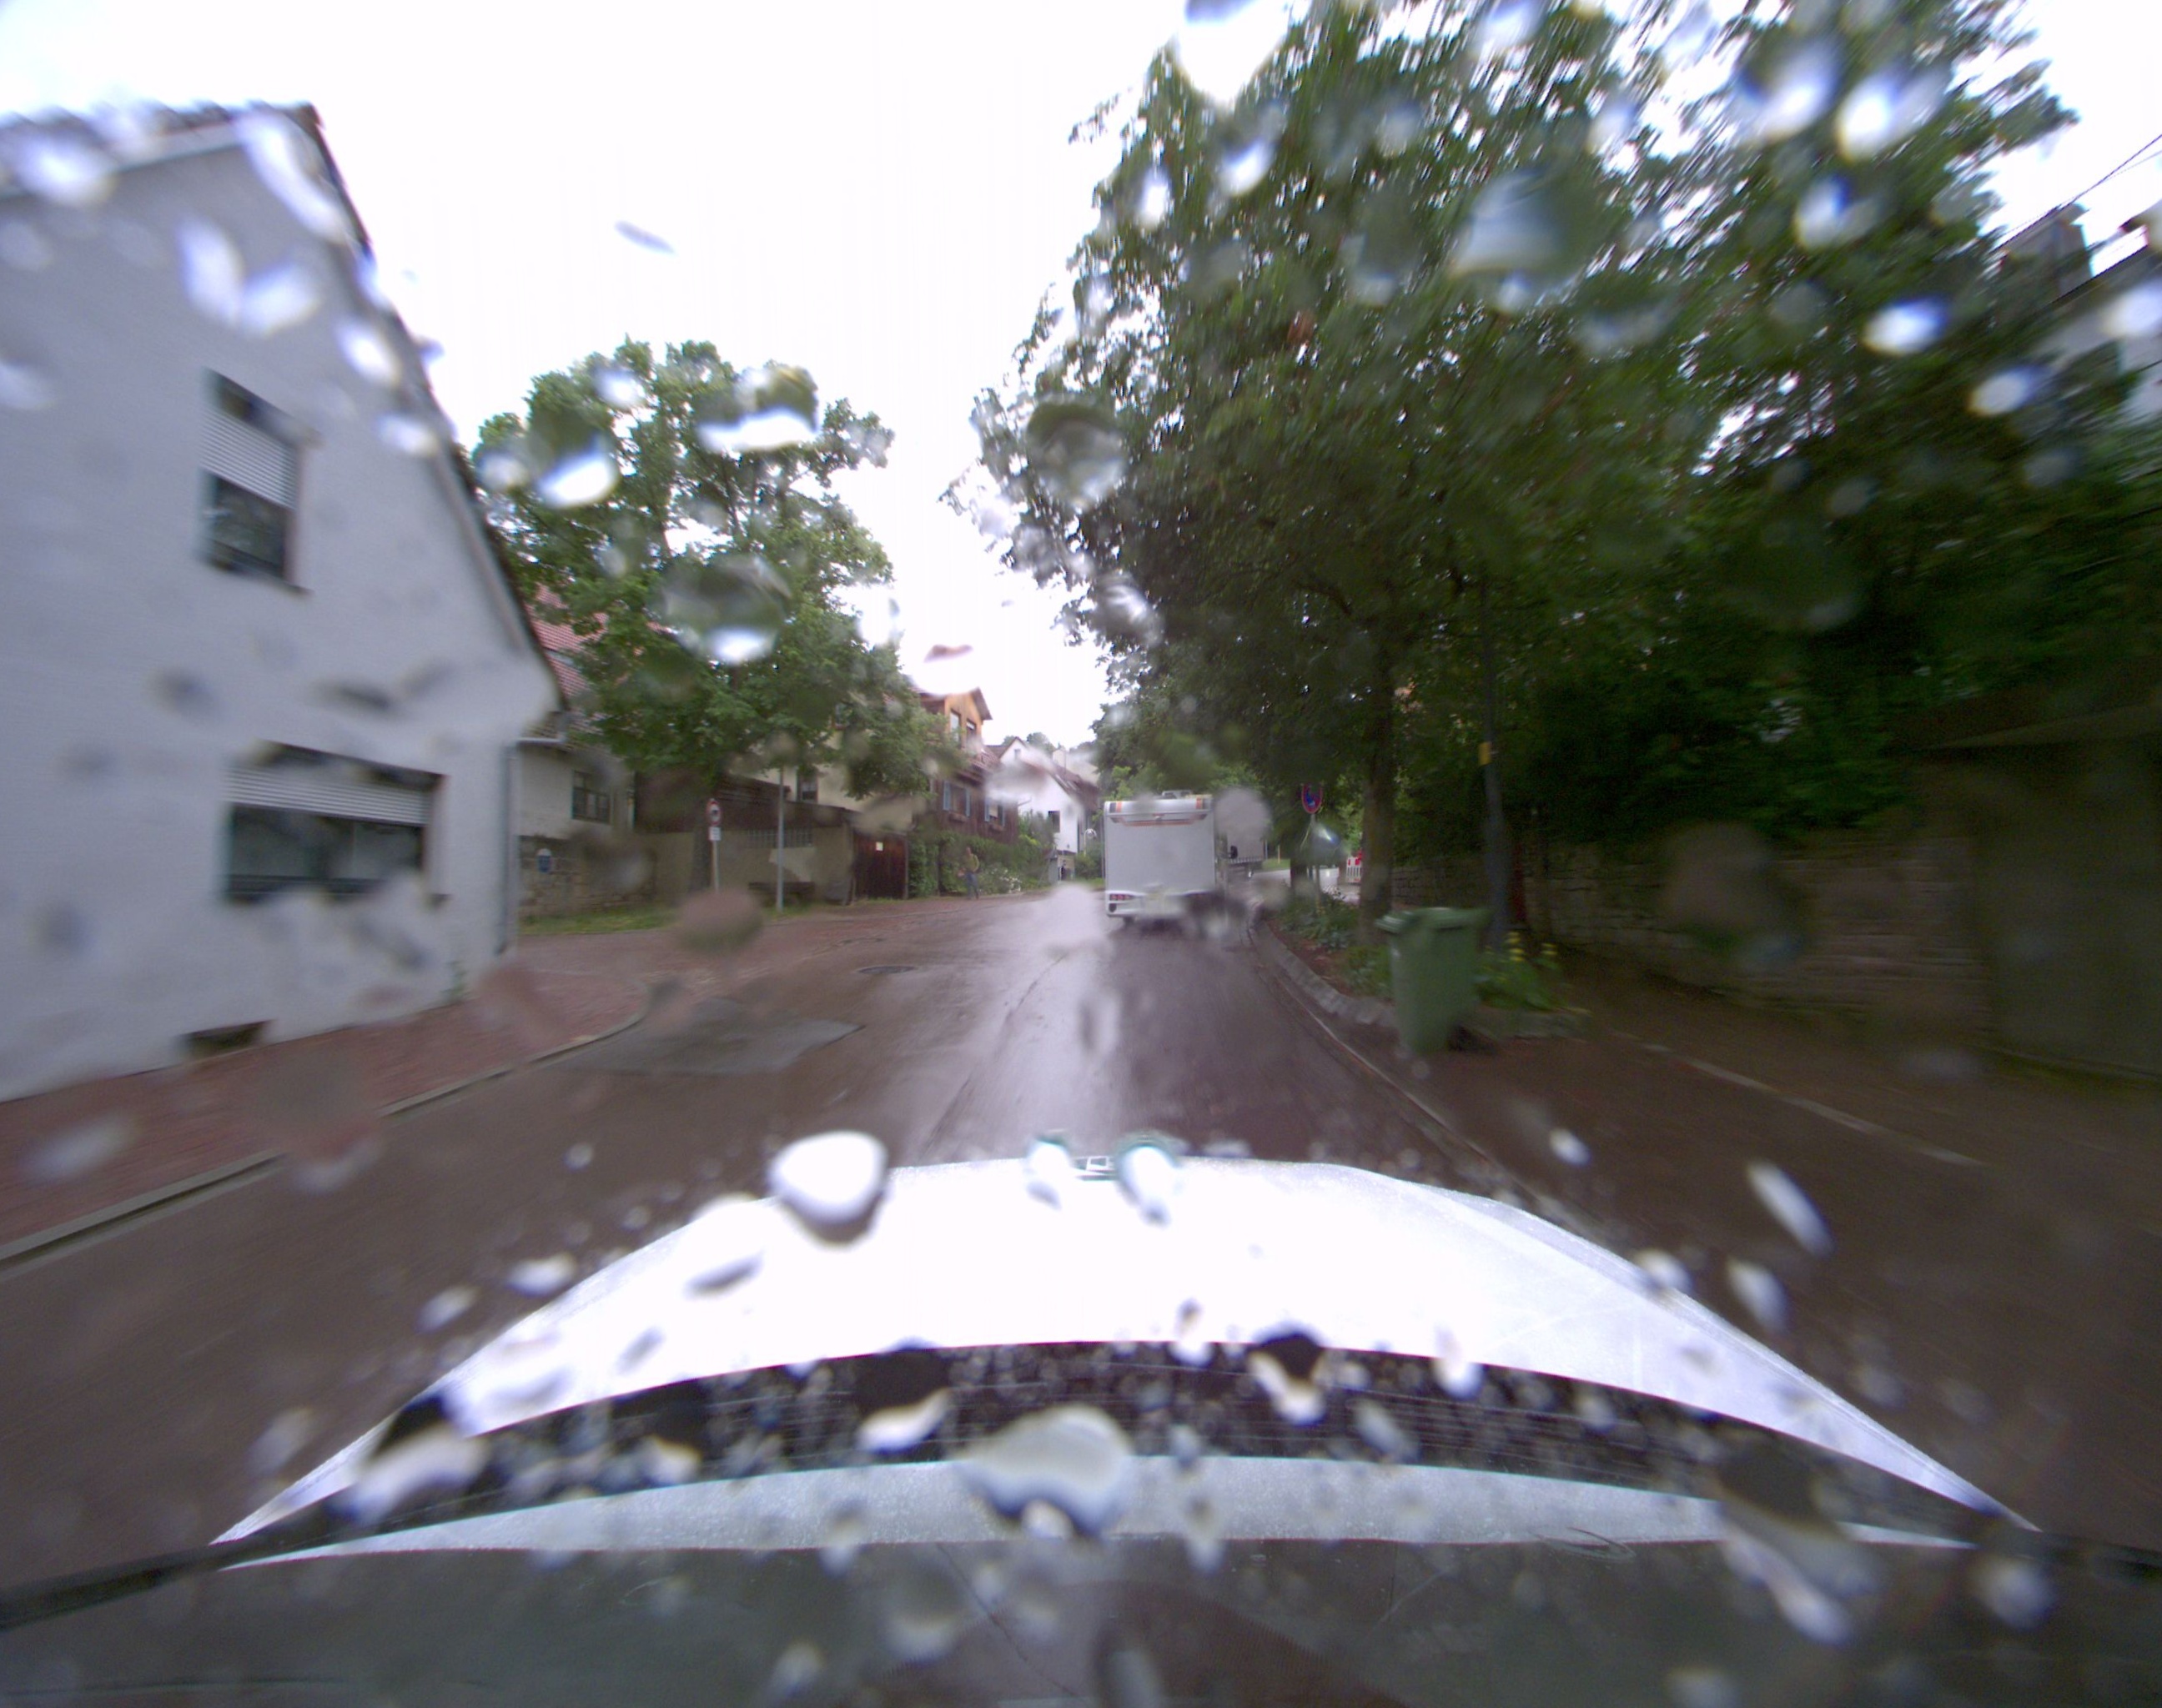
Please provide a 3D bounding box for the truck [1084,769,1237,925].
[{"bbox_3d":[2.103,-0.151,18.909,2.676,2.985,6.259,-1,1,13],"label":"truck"}]

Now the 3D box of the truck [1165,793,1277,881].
[{"bbox_3d":[7.709,-0.797,43.323,2.811,4.166,10.037,-1,0,28],"label":"truck"}]

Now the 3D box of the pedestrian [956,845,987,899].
[{"bbox_3d":[-3.867,0.629,28.898,0.788,1.868,0.919,-1,-1,13],"label":"pedestrian"}]

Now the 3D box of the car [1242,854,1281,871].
[{"bbox_3d":[19.957,0.921,90.153,3.972,1.762,2.000,-1,-1,1],"label":"car"}]

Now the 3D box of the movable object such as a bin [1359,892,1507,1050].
[{"bbox_3d":[2.774,0.891,6.514,0.766,1.107,0.884,-3,-1,0],"label":"movable object such as a bin"}]
